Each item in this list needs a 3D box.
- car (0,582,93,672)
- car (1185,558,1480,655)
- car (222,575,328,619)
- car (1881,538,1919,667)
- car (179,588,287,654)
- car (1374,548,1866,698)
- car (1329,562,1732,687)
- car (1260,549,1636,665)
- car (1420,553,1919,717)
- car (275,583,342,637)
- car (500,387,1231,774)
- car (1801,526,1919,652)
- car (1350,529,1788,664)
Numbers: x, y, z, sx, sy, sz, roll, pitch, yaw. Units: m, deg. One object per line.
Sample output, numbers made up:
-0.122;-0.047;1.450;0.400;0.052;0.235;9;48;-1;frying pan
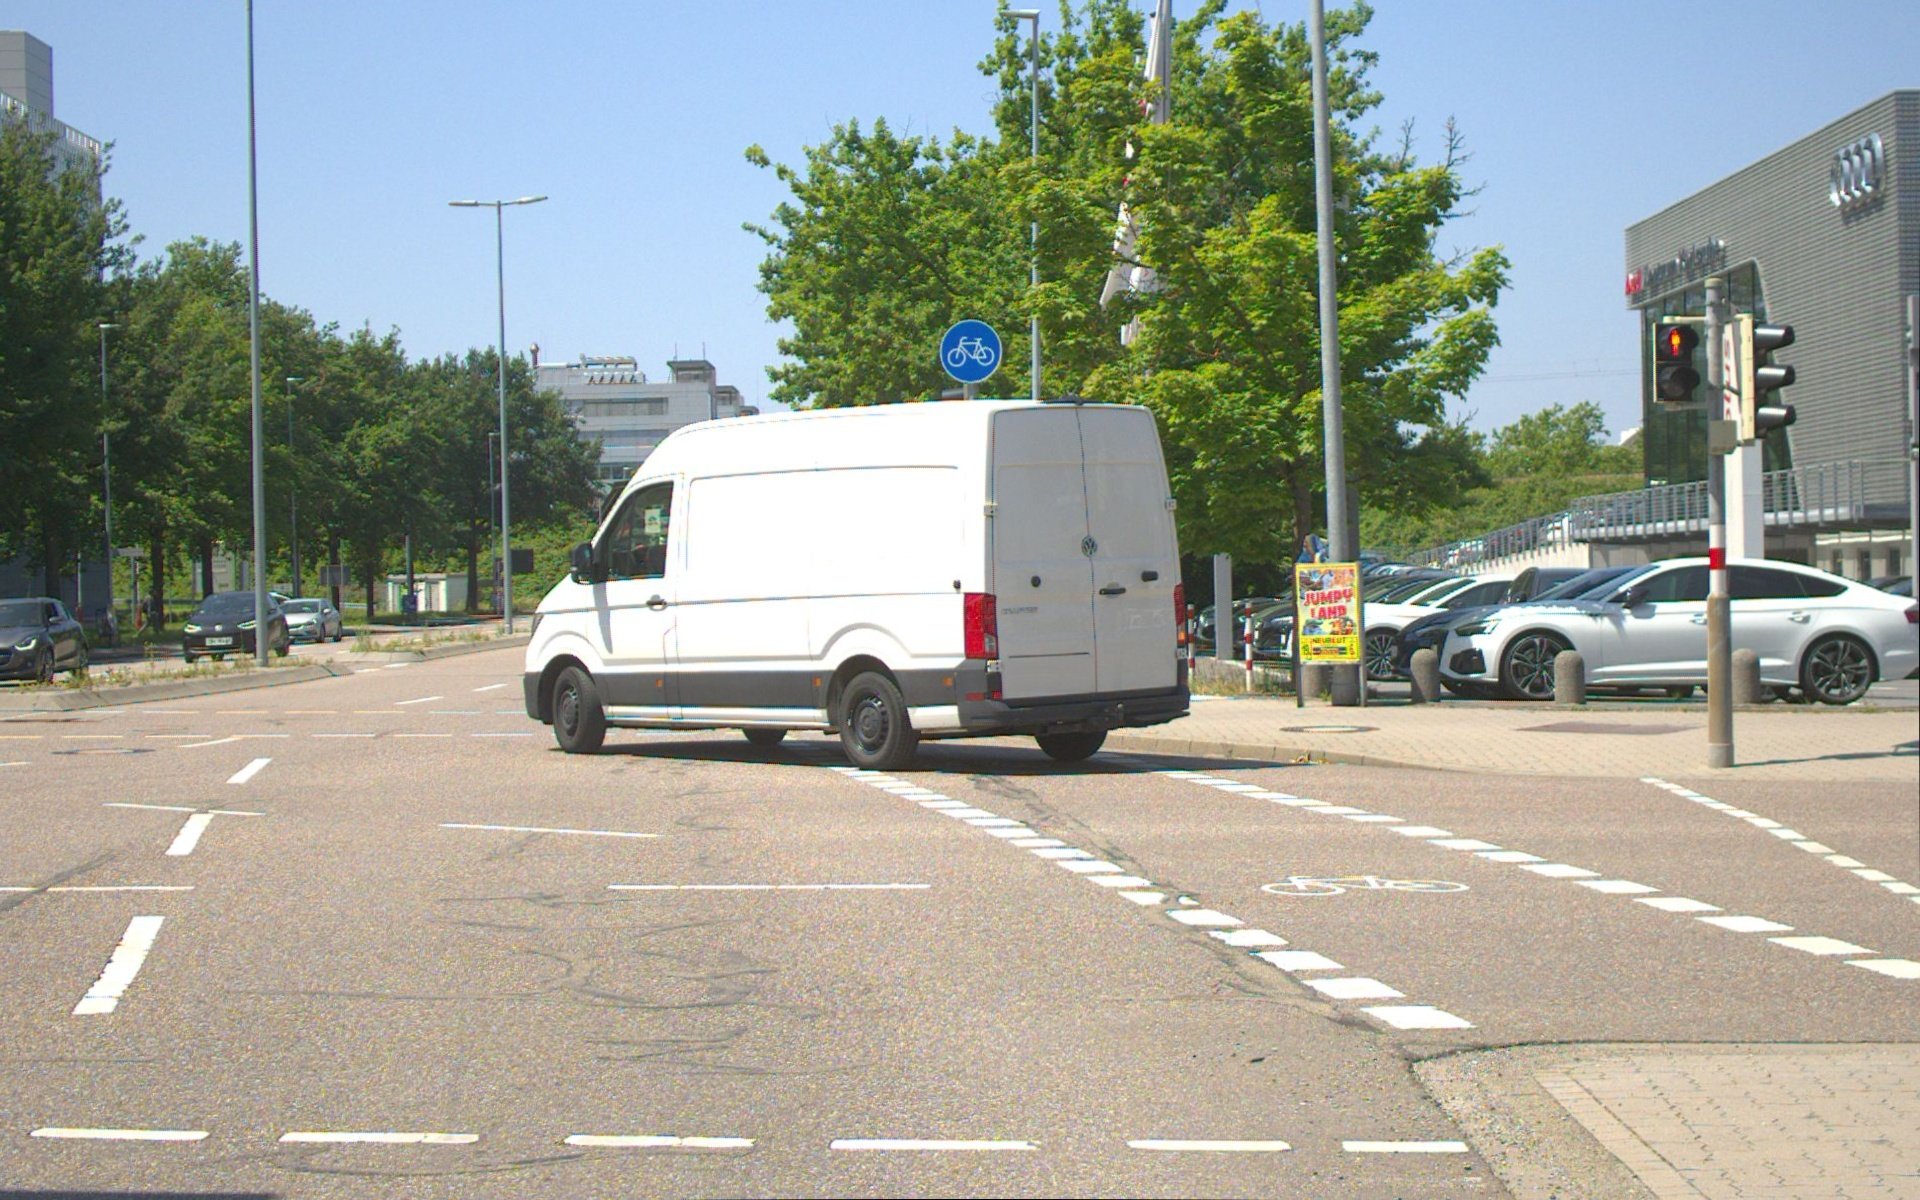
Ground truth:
-15.885;0.462;57.674;1.732;1.422;3.706;-3;0;-1;car
6.337;0.098;58.833;4.741;1.452;2.000;-2;1;-2;car
-29.740;-0.150;149.365;4.018;1.804;1.999;1;1;14;car
16.843;-0.008;54.384;3.987;2.007;2.000;-1;1;1;car
-16.403;0.460;77.690;1.684;1.406;3.665;-1;0;-1;car
6.800;0.240;35.819;4.741;1.452;2.000;-1;0;2;car
7.214;0.290;43.767;4.741;1.452;2.000;-1;1;-2;car
6.557;0.075;46.562;4.741;1.452;2.000;-1;1;-2;car
6.950;0.317;33.272;4.741;1.452;2.000;-1;1;2;car
-21.103;0.306;111.476;1.648;1.647;4.164;-1;1;-5;car
-0.846;-0.138;25.245;2.097;2.525;5.798;-1;0;-42;car
16.141;-0.215;56.750;3.987;2.007;2.000;-1;1;1;car
7.006;-0.057;39.939;4.741;1.452;2.000;-1;1;2;car
